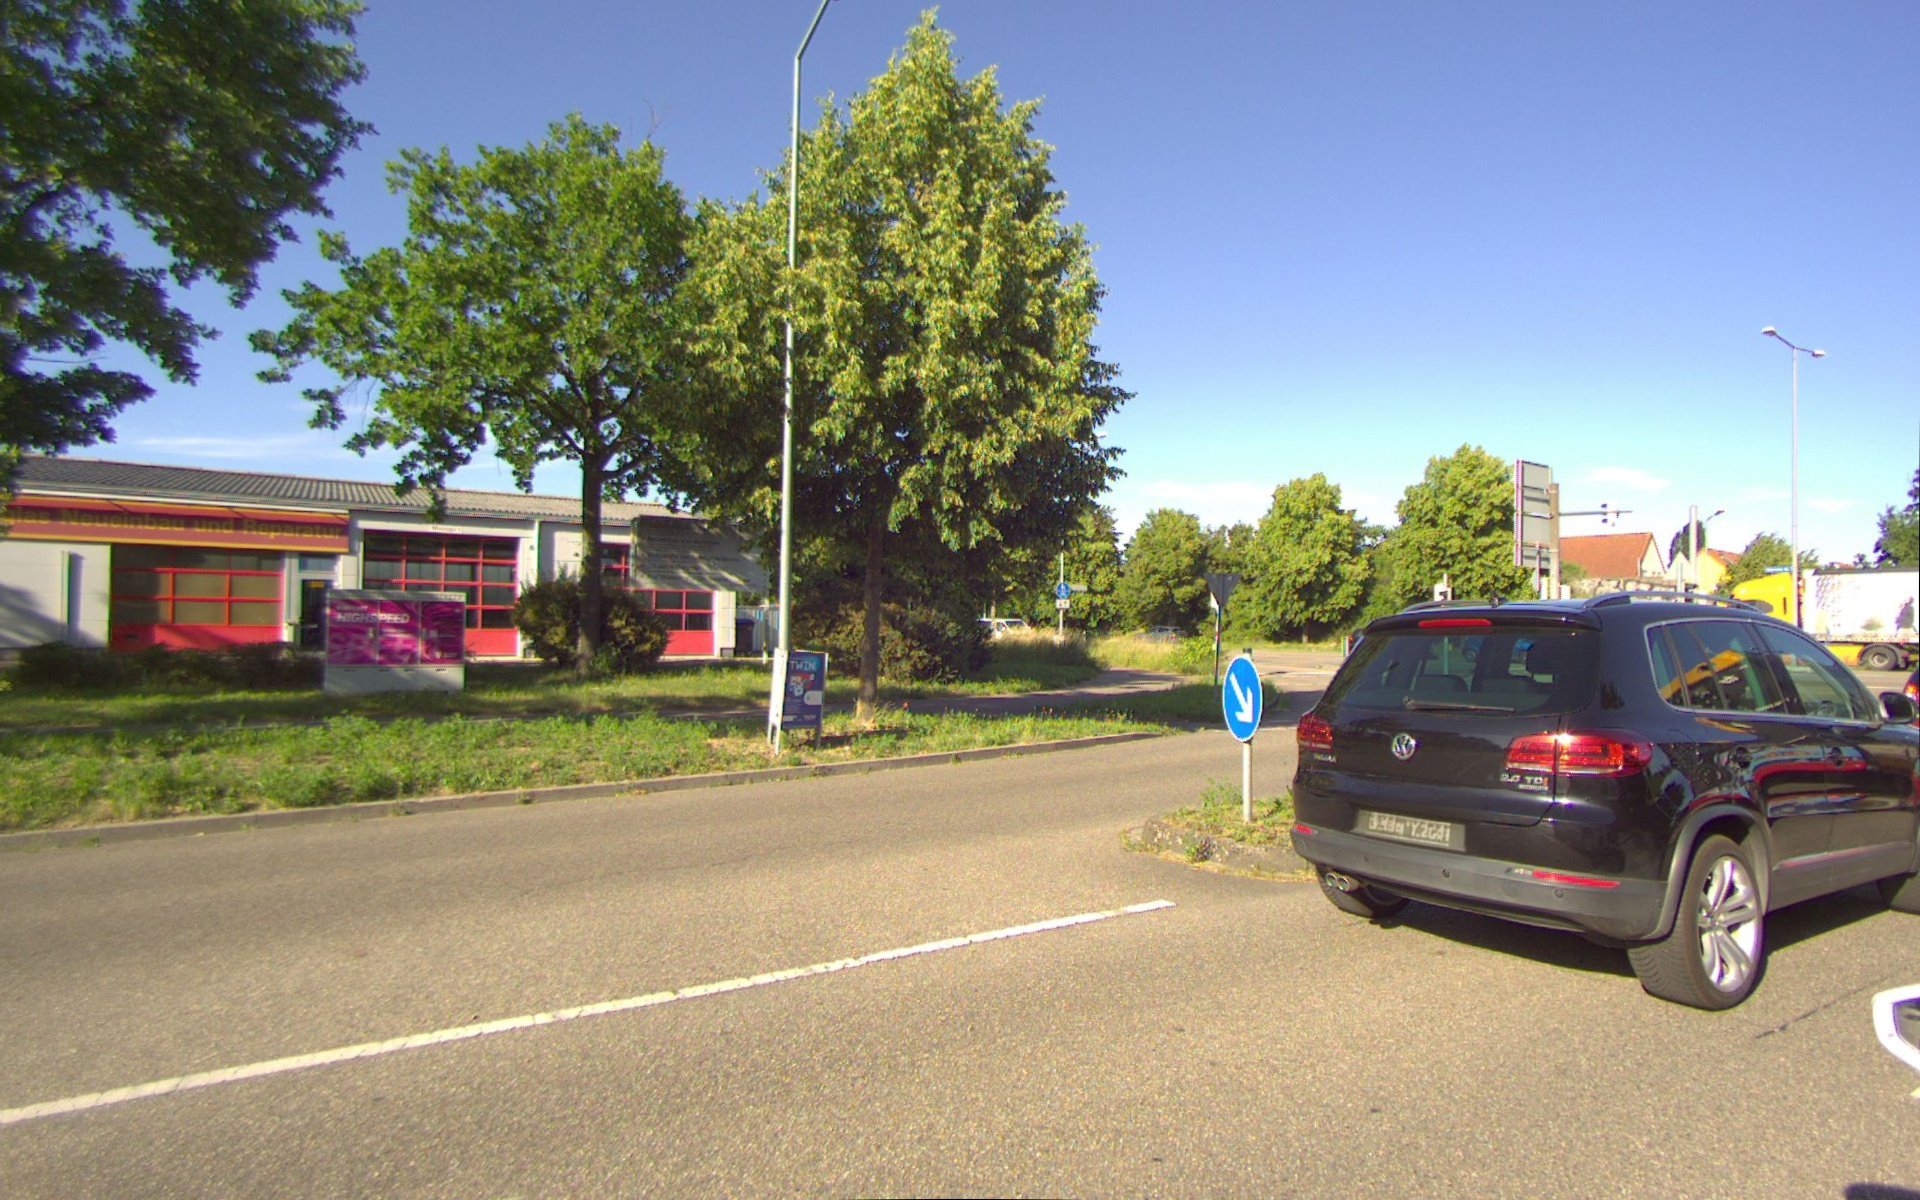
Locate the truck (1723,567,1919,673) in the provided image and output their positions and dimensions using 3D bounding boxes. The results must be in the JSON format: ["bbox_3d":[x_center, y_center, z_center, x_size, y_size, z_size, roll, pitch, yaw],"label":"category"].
[{"bbox_3d":[36.307,0.844,41.922,3.407,4.066,6.432,1,-1,-35],"label":"truck"}]

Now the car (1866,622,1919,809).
[{"bbox_3d":[10.230,1.014,9.213,3.954,1.610,1.753,1,-3,-31],"label":"car"}]

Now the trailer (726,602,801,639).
[{"bbox_3d":[-25.273,2.465,128.207,3.408,4.241,15.204,2,0,-36],"label":"trailer"}]

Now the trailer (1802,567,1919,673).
[{"bbox_3d":[40.215,0.761,36.394,3.407,4.066,14.557,1,-1,-35],"label":"trailer"}]

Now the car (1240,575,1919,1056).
[{"bbox_3d":[3.552,0.829,5.313,3.954,1.675,1.763,1,-3,-31],"label":"car"}]

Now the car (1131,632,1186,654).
[{"bbox_3d":[14.038,3.043,71.184,1.567,1.478,3.547,2,-2,-45],"label":"car"}]

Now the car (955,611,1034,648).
[{"bbox_3d":[2.078,1.814,62.435,2.160,2.146,5.350,2,-1,-35],"label":"car"}]

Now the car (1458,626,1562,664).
[{"bbox_3d":[23.758,1.919,43.494,1.733,1.581,3.559,2,-2,-35],"label":"car"}]
